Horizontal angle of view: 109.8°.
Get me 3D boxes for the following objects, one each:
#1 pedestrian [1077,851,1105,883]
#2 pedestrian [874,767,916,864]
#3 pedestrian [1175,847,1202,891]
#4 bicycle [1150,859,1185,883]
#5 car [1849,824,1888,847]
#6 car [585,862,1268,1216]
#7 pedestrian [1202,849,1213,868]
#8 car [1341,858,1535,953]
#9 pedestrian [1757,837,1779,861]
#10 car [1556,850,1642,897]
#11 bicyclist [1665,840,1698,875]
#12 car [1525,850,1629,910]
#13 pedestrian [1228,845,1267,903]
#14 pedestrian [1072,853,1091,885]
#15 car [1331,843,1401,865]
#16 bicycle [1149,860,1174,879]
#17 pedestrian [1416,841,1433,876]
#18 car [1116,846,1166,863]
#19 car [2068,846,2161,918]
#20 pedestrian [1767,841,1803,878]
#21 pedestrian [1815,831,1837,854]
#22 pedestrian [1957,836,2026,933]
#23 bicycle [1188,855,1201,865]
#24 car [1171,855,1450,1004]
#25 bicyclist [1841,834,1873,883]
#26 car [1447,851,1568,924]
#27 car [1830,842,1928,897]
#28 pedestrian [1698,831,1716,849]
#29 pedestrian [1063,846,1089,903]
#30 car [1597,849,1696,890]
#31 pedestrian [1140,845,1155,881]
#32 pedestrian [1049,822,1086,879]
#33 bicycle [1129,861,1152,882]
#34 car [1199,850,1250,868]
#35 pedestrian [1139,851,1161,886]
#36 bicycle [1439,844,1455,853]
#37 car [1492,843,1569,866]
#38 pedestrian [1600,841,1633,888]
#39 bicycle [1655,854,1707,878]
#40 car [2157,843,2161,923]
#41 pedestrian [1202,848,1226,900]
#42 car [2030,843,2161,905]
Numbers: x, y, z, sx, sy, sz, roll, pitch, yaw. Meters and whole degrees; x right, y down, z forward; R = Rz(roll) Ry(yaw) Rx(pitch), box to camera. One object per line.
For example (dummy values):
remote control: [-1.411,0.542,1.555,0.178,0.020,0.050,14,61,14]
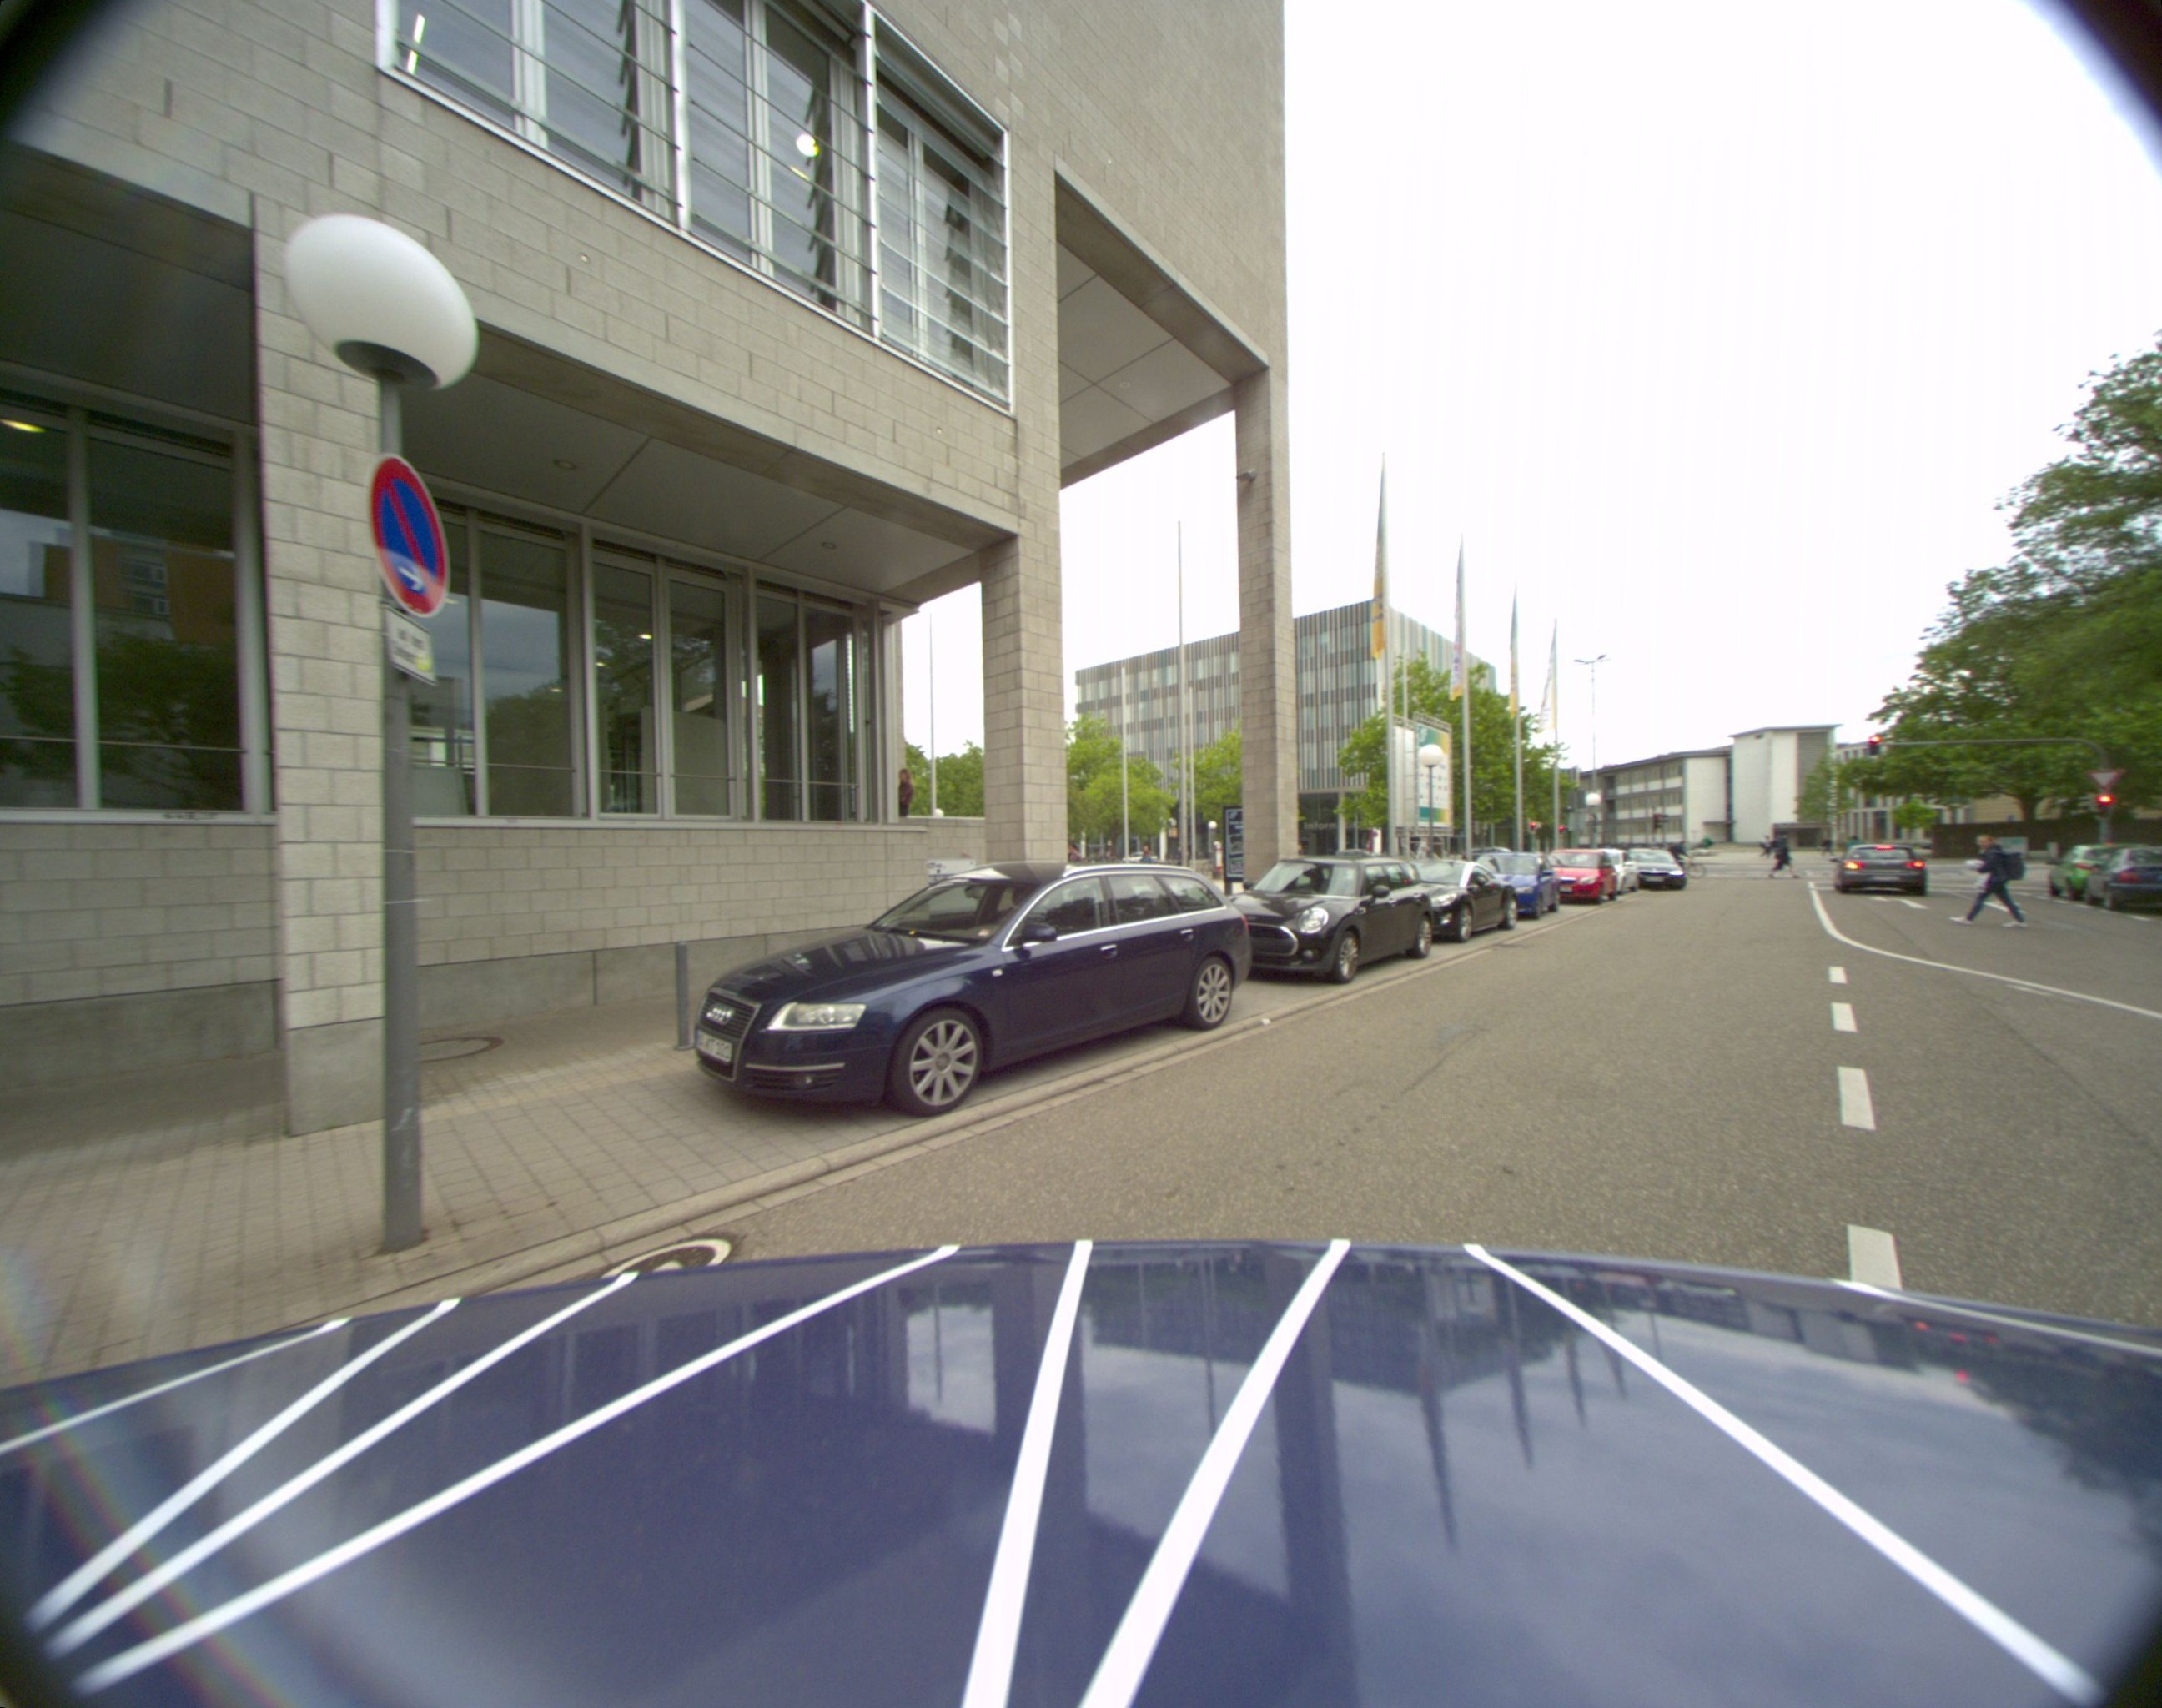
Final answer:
pedestrian: [0.470,0.604,34.652,0.850,1.412,0.970,0,1,32]
pedestrian: [-3.316,-0.653,13.516,0.632,1.648,0.805,0,-2,-22]
pedestrian: [4.266,0.584,30.138,0.706,1.660,0.755,-3,4,-45]
bicycle: [4.242,0.833,37.223,0.456,1.163,2.420,-1,-2,39]
car: [81.837,-1.906,78.953,4.413,1.570,1.997,6,-12,-34]
car: [-0.687,0.864,5.903,1.994,1.444,4.932,0,1,43]
pedestrian: [13.575,0.443,81.418,0.853,2.002,1.003,-1,1,33]
car: [6.603,0.813,13.806,1.849,1.433,4.428,-1,-1,44]
pedestrian: [52.328,-0.379,57.892,0.845,1.778,0.894,-1,1,1]
car: [17.747,0.614,25.984,1.861,1.444,3.866,-1,1,43]
bicyclist: [28.428,0.166,36.003,0.867,1.631,0.876,-1,0,-1]
car: [14.169,0.644,21.604,1.712,1.465,4.282,2,2,43]
pedestrian: [4.826,0.592,21.989,0.735,1.631,0.934,-2,-2,41]
pedestrian: [0.027,0.653,33.728,0.672,1.405,0.770,-1,1,12]
car: [22.944,0.046,61.252,4.826,1.653,2.004,-1,0,41]
bicycle: [4.561,0.880,43.068,0.456,1.043,1.939,1,1,39]
pedestrian: [17.016,0.230,37.584,0.671,1.705,0.680,0,1,32]
car: [6.639,0.069,84.829,5.359,1.687,2.052,-2,-2,38]
car: [23.878,0.567,16.966,4.345,1.400,1.798,-2,1,-43]
pedestrian: [31.251,0.254,33.744,1.041,1.610,0.659,-1,2,28]
pedestrian: [55.148,-0.829,56.224,0.790,1.654,0.809,-1,-2,3]
pedestrian: [16.140,0.515,13.496,0.970,1.652,0.739,0,1,-41]
bicycle: [14.674,0.719,98.219,0.627,1.251,2.109,-1,0,41]
car: [3.280,0.796,10.201,1.818,1.435,4.529,2,2,42]
bicyclist: [28.494,0.144,27.905,0.657,1.769,0.986,0,2,36]
car: [10.033,0.680,17.702,1.695,1.403,4.385,0,2,40]
car: [24.095,0.403,23.069,1.783,1.488,4.176,0,1,43]
pedestrian: [57.979,-1.290,70.343,0.951,1.705,0.906,-2,2,0]
pedestrian: [-0.147,0.613,23.200,0.648,1.702,0.781,-1,0,-10]
car: [21.445,0.523,29.039,1.862,1.393,4.485,0,1,21]
pedestrian: [3.438,0.437,39.183,0.673,1.823,0.511,-1,1,-7]
pedestrian: [-0.421,-0.085,23.787,0.911,1.701,0.692,3,-5,-36]
bicycle: [3.157,0.895,40.183,0.456,1.043,1.939,0,1,29]
car: [13.236,0.455,70.116,4.182,1.608,2.004,-1,1,41]
pedestrian: [3.437,0.692,37.889,0.850,1.694,0.970,0,2,21]
bicycle: [39.118,-0.565,81.221,0.484,0.931,2.008,-2,1,-7]
car: [31.034,0.017,52.524,4.280,1.481,2.004,-1,1,43]
pedestrian: [20.836,0.396,29.572,0.823,1.777,0.791,-2,2,-35]
bicycle: [28.426,0.562,36.010,1.800,1.087,0.876,-1,0,-1]
car: [20.265,0.574,12.649,1.798,1.552,4.540,0,1,43]
pedestrian: [4.708,0.701,26.966,0.591,1.830,0.621,1,2,44]
car: [27.499,0.460,20.543,1.798,1.461,4.257,0,1,45]
